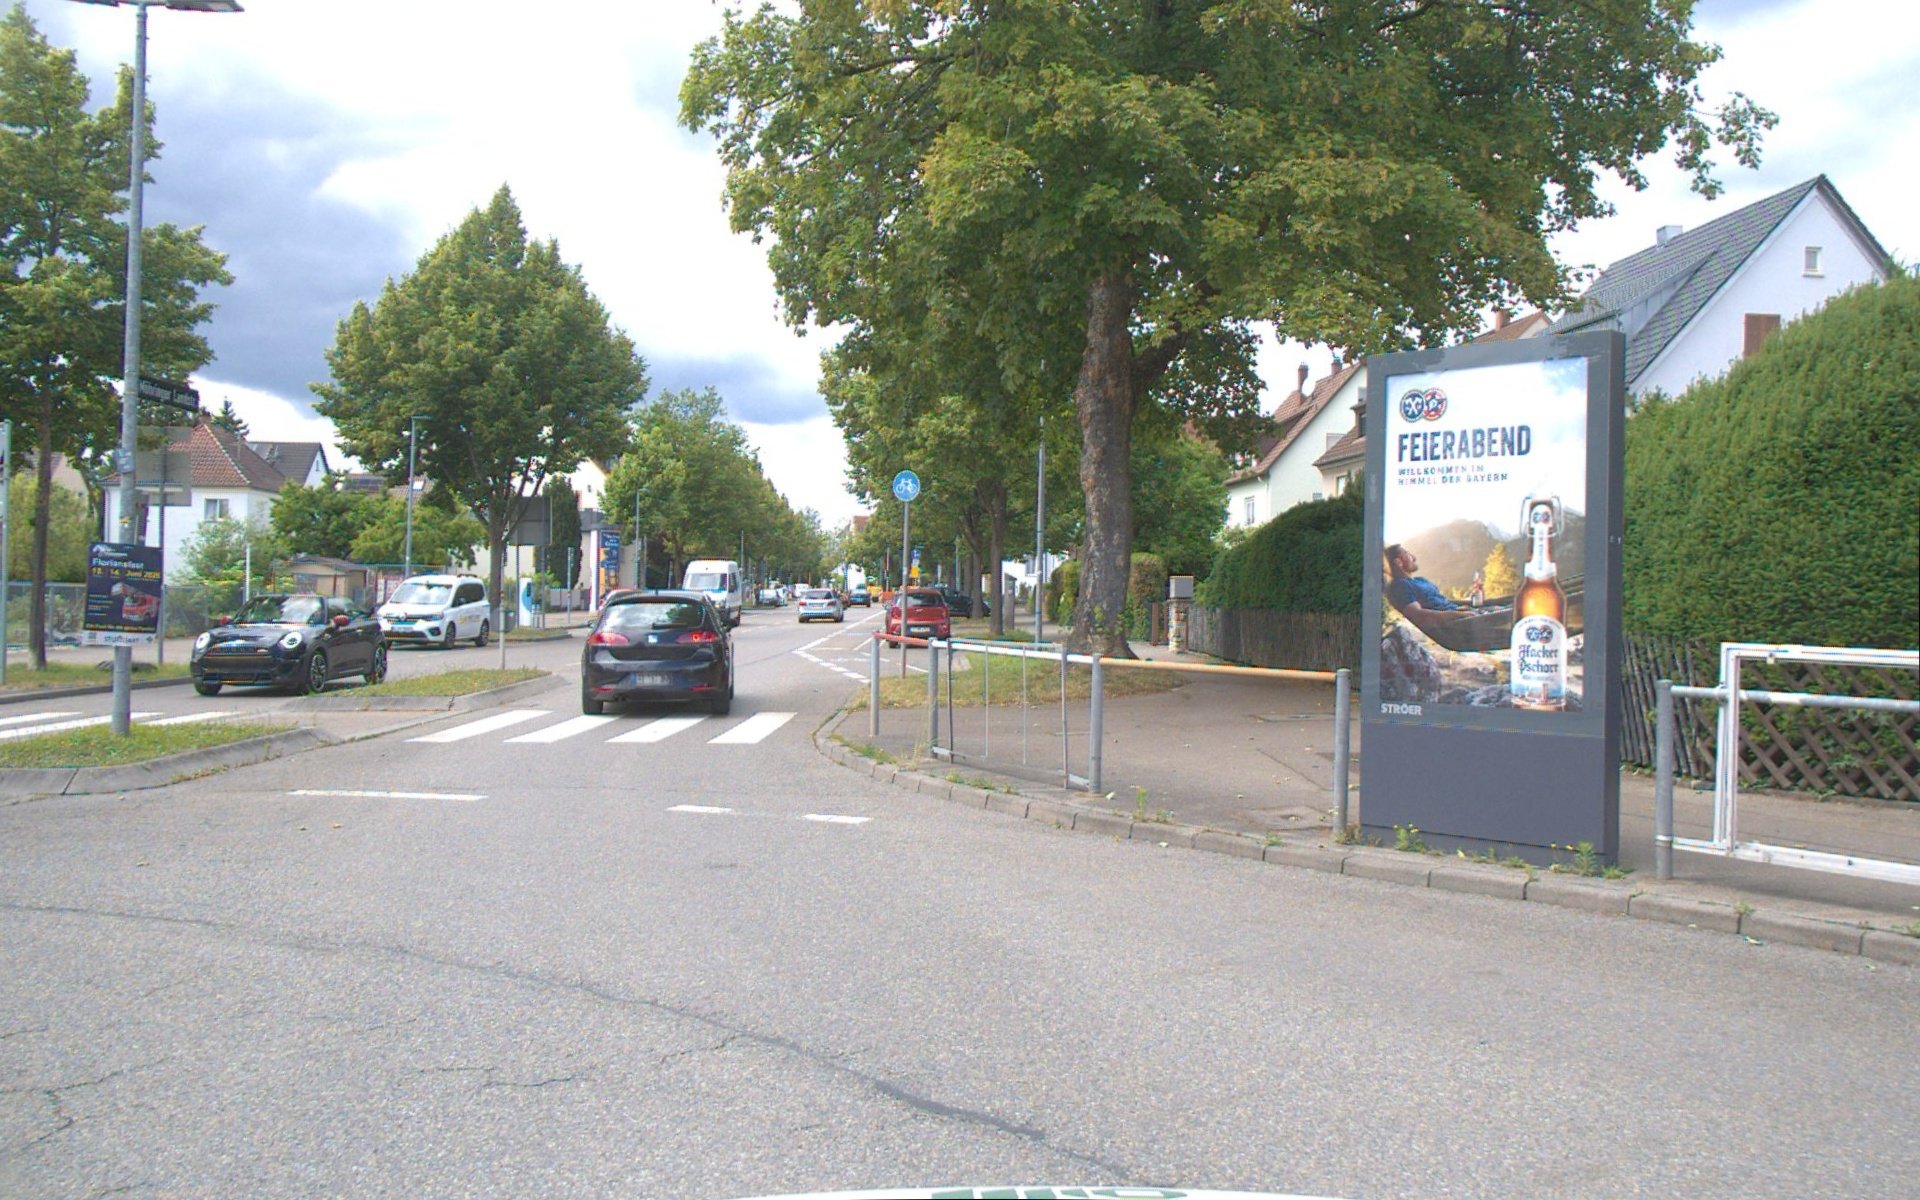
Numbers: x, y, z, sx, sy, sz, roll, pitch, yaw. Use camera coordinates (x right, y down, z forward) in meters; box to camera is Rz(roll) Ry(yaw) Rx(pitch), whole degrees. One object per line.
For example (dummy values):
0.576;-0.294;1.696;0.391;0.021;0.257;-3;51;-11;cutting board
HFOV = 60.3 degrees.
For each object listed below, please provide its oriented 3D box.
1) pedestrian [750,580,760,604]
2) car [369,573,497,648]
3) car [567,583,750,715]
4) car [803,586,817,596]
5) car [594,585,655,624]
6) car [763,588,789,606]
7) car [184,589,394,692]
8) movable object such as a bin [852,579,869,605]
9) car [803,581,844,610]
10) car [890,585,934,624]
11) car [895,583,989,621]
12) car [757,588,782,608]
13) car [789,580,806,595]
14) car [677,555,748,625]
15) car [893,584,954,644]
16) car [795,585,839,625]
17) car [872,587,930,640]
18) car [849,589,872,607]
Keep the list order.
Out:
-15.079;-0.568;121.561;0.531;1.710;0.751;2;1;7;pedestrian
-13.281;0.231;41.924;1.734;1.801;4.551;0;0;1;car
-3.615;0.535;20.424;1.783;1.463;3.737;0;1;-4;car
-22.645;-1.368;249.502;1.778;1.440;3.681;0;0;-13;car
-13.793;0.170;68.177;1.650;1.568;4.132;0;0;1;car
-15.026;-0.260;135.233;1.679;1.431;4.300;0;0;0;car
-9.765;0.536;24.364;1.541;1.386;3.743;0;0;1;car
-10.130;-0.830;168.632;1.733;2.619;3.737;0;0;-4;movable object such as a bin
-9.181;-0.308;111.276;1.866;1.914;4.003;1;0;9;car
-1.911;0.144;65.066;1.620;1.440;4.175;-1;1;-3;car
-0.851;0.082;75.551;4.136;1.666;1.691;-1;1;-7;car
-14.800;-0.168;128.595;1.610;1.445;4.018;-1;0;-2;car
-21.210;-1.652;215.798;1.926;1.862;4.818;0;0;-1;car
-10.048;-0.425;67.529;1.977;2.720;5.806;0;0;1;car
-0.957;0.365;43.253;1.533;1.481;3.667;0;0;-1;car
-6.347;0.212;73.720;1.868;1.715;3.737;0;0;-4;car
-1.765;0.367;49.044;1.620;1.440;4.175;-1;1;-3;car
-7.742;-0.147;129.049;1.774;1.399;3.691;0;0;-3;car
